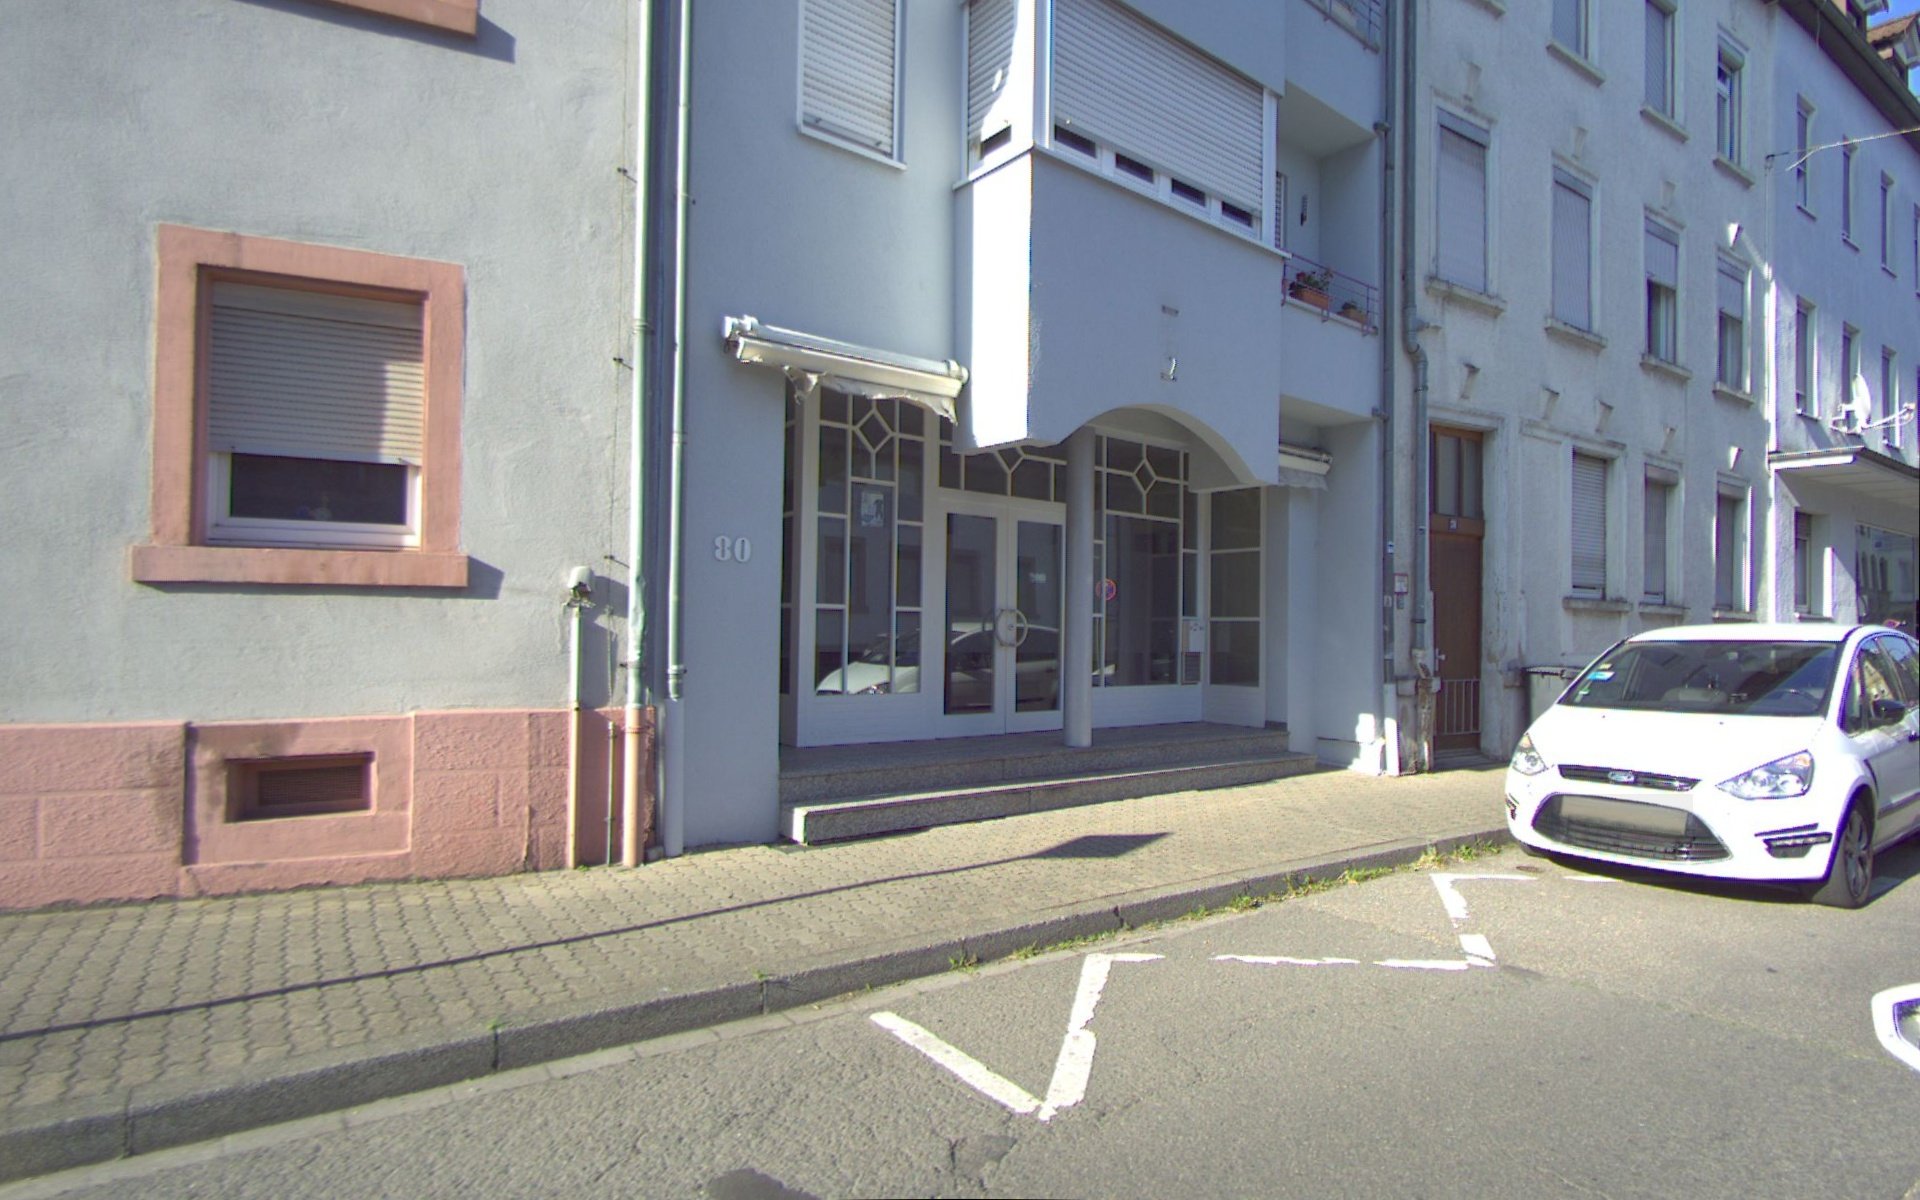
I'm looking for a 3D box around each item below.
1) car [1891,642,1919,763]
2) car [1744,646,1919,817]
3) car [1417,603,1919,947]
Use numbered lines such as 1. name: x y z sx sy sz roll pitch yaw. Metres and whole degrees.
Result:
1. car: 14.159 1.360 13.489 3.770 1.546 1.650 2 -2 -34
2. car: 9.992 1.246 10.464 4.086 1.515 1.753 2 -4 -36
3. car: 5.600 0.928 7.248 5.173 1.669 1.979 2 -2 -37
